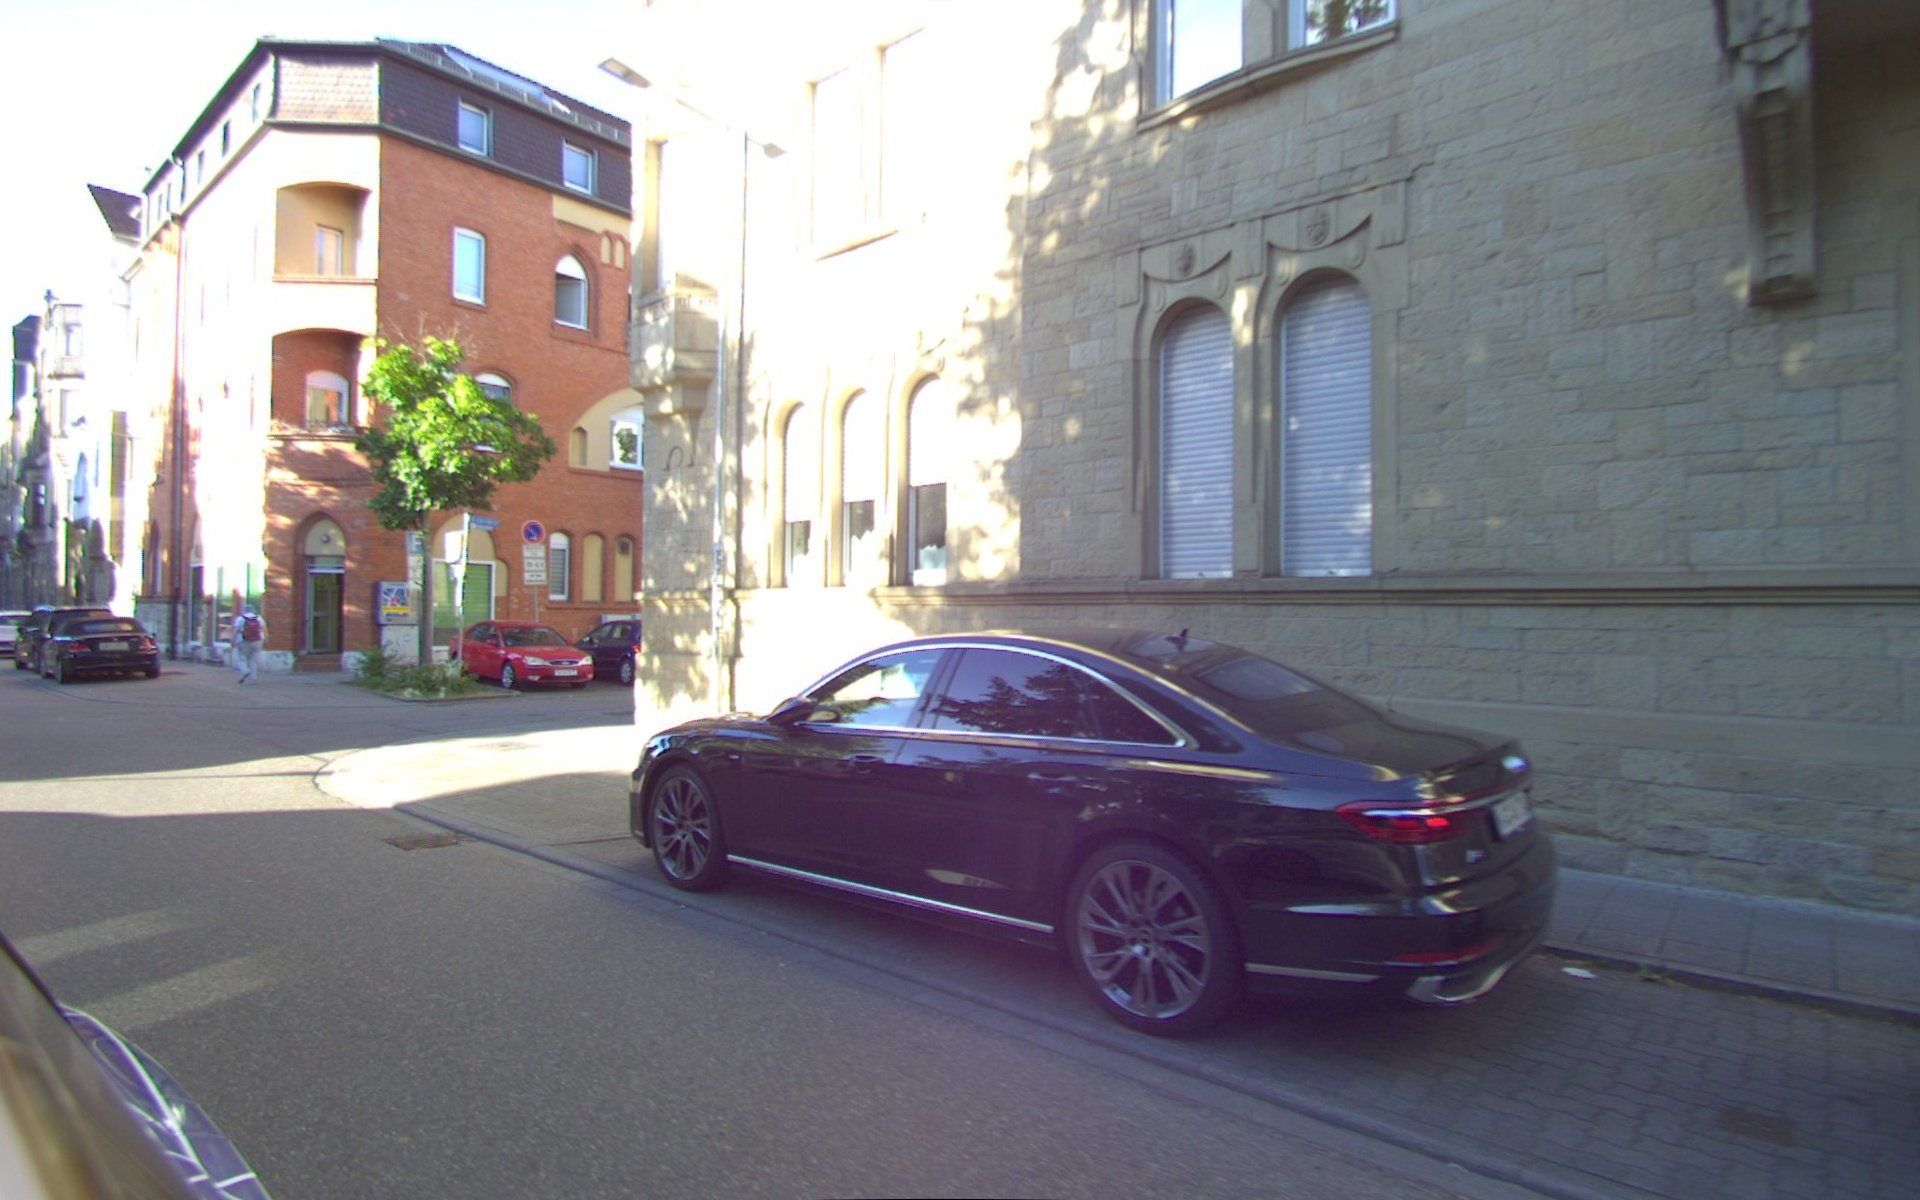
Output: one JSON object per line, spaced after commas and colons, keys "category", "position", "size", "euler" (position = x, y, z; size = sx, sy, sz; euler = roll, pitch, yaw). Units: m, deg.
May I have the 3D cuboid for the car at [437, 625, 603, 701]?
{"category": "car", "position": [-9.948, 1.326, 22.697], "size": [4.656, 1.480, 1.618], "euler": [0, -1, 42]}

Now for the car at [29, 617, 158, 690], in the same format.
{"category": "car", "position": [-19.449, 1.126, 22.654], "size": [4.331, 1.421, 1.618], "euler": [0, 1, 42]}

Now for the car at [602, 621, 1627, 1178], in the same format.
{"category": "car", "position": [0.311, 0.873, 5.083], "size": [4.895, 1.437, 1.792], "euler": [0, 1, 41]}

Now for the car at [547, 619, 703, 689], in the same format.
{"category": "car", "position": [-8.225, 1.273, 24.685], "size": [4.211, 1.562, 1.695], "euler": [-1, -3, 41]}

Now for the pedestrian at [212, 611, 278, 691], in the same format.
{"category": "pedestrian", "position": [-14.874, 1.042, 21.050], "size": [1.053, 1.589, 0.878], "euler": [1, 0, 41]}

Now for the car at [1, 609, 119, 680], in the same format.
{"category": "car", "position": [-23.482, 1.092, 26.347], "size": [4.346, 1.693, 1.652], "euler": [0, -1, 40]}

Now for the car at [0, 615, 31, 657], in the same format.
{"category": "car", "position": [-34.749, 1.294, 36.270], "size": [4.108, 1.454, 1.659], "euler": [-1, -1, 40]}

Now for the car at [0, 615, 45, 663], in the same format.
{"category": "car", "position": [-30.914, 1.242, 32.800], "size": [3.591, 1.481, 1.549], "euler": [-1, -2, 43]}
